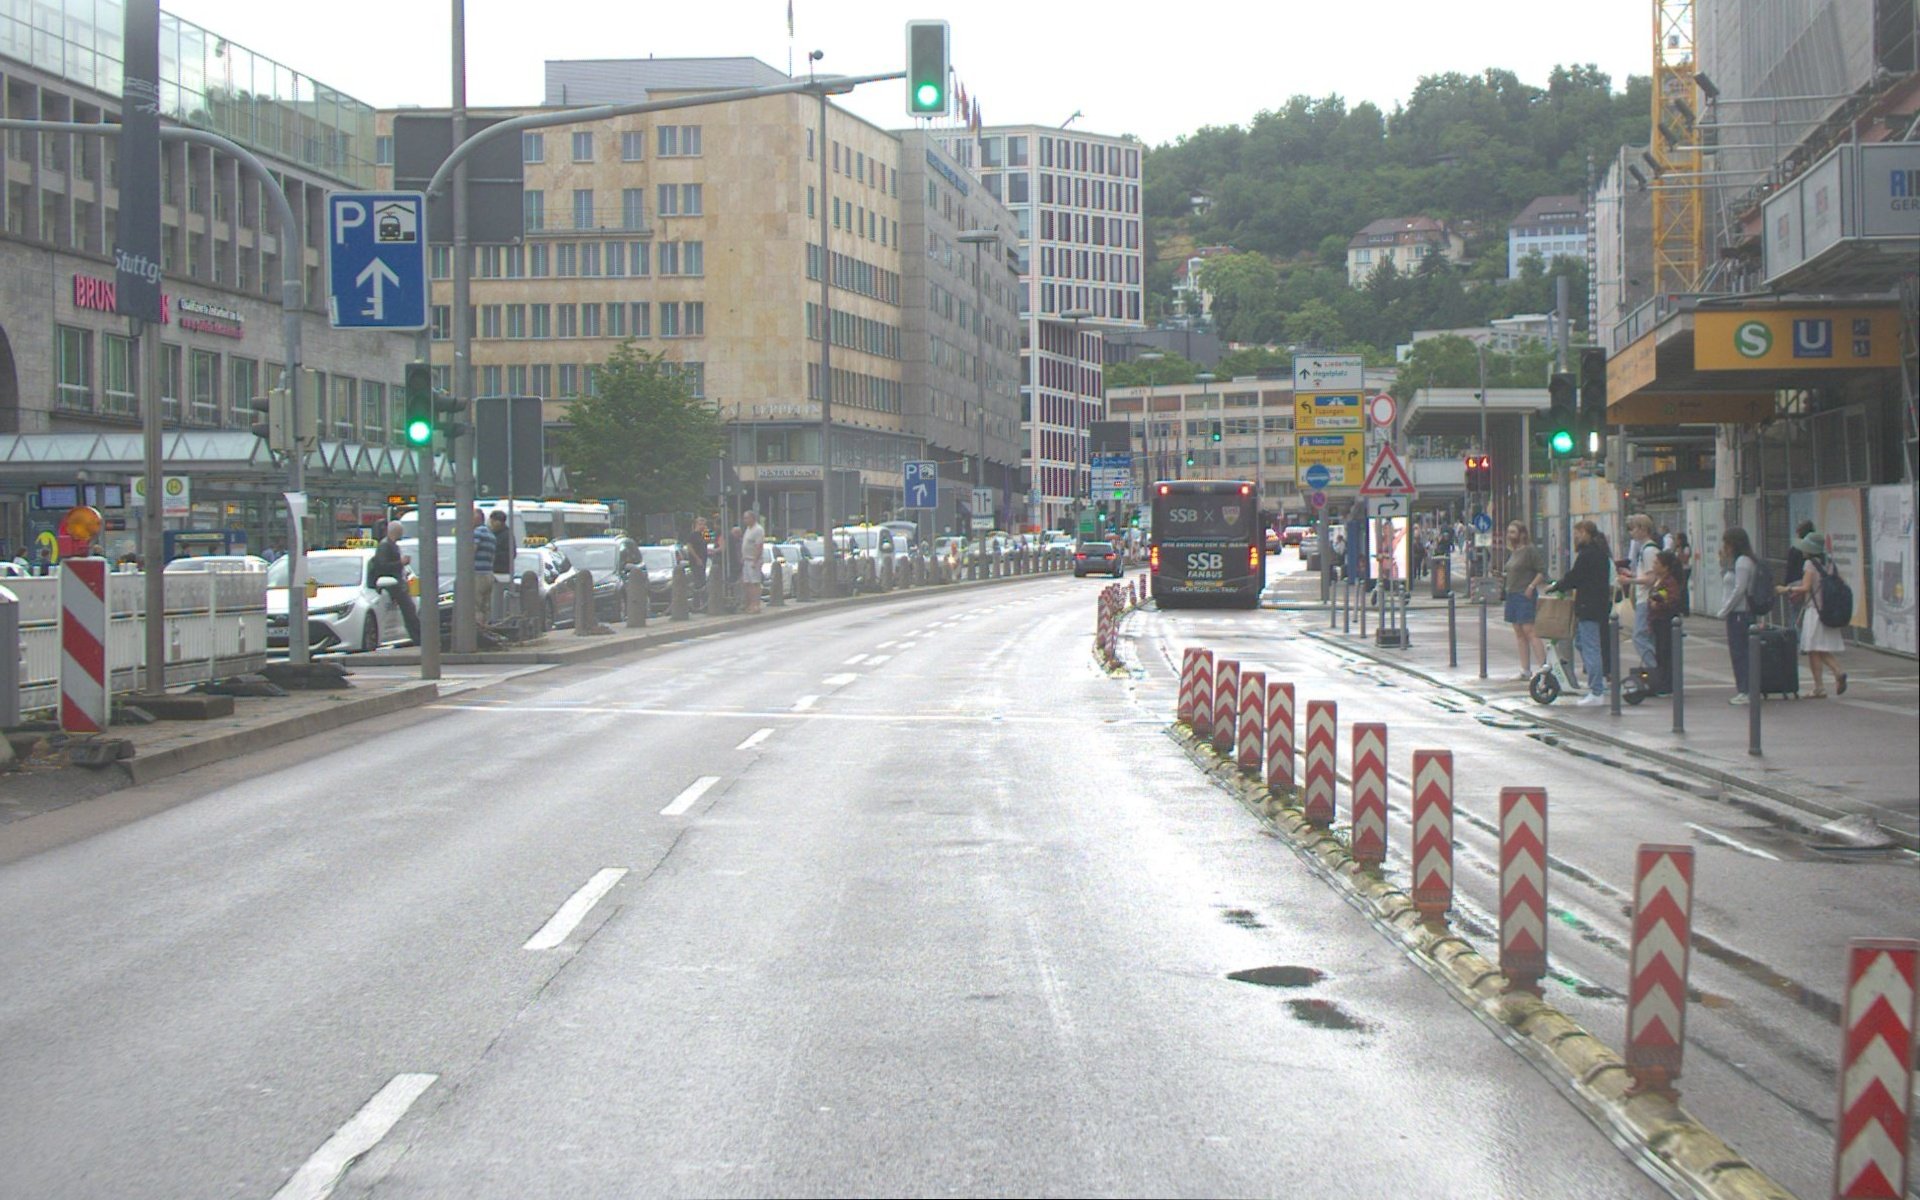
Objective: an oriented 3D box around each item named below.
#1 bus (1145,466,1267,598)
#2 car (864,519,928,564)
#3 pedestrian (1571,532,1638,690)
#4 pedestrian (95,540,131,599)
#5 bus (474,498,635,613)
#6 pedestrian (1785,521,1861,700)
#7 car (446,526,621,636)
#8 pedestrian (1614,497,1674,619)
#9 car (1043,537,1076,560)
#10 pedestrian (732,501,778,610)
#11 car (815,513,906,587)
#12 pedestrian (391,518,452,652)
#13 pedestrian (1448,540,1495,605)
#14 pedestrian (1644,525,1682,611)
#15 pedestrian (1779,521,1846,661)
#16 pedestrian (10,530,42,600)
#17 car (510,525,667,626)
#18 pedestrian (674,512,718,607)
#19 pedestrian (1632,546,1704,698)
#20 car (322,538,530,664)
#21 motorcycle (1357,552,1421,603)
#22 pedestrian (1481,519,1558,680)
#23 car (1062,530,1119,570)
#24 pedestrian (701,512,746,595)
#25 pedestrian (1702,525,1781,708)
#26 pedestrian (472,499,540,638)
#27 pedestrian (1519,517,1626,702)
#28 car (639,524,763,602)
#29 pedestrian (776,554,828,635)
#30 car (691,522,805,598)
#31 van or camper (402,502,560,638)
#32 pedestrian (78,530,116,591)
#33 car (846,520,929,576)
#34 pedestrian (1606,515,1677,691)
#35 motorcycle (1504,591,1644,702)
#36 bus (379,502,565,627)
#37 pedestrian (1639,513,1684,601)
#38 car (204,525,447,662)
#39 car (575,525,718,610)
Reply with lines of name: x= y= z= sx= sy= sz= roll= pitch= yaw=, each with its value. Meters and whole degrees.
bus: x=6.166 y=-1.669 z=85.066 sx=2.756 sy=3.058 sz=9.078 roll=1 pitch=1 yaw=5
car: x=-2.259 y=-2.083 z=122.110 sx=1.994 sy=1.546 sz=4.000 roll=-1 pitch=1 yaw=3
pedestrian: x=6.850 y=0.111 z=36.553 sx=0.558 sy=1.635 sz=0.752 roll=-3 pitch=1 yaw=6
pedestrian: x=-20.012 y=-0.720 z=81.229 sx=0.704 sy=1.388 sz=0.704 roll=0 pitch=2 yaw=-25
bus: x=-12.770 y=-1.478 z=109.283 sx=2.878 sy=3.448 sz=10.573 roll=0 pitch=1 yaw=5
pedestrian: x=8.135 y=0.094 z=32.411 sx=0.564 sy=1.645 sz=0.614 roll=-3 pitch=1 yaw=10
car: x=-7.007 y=-0.343 z=56.888 sx=1.930 sy=1.685 sz=4.682 roll=-2 pitch=1 yaw=4
pedestrian: x=10.574 y=-0.657 z=53.178 sx=0.723 sy=1.841 sz=0.810 roll=-3 pitch=1 yaw=5
car: x=6.795 y=-3.527 z=234.833 sx=1.962 sy=1.559 sz=4.834 roll=0 pitch=1 yaw=5
pedestrian: x=-3.808 y=-0.831 z=63.876 sx=0.723 sy=2.001 sz=0.772 roll=1 pitch=1 yaw=5
car: x=-2.968 y=-1.540 z=103.863 sx=1.994 sy=2.171 sz=5.543 roll=-1 pitch=1 yaw=6
pedestrian: x=-6.941 y=-0.195 z=44.360 sx=0.651 sy=1.705 sz=0.593 roll=1 pitch=2 yaw=3
pedestrian: x=12.915 y=-0.702 z=86.855 sx=0.908 sy=1.629 sz=0.826 roll=0 pitch=1 yaw=33
pedestrian: x=15.412 y=-0.705 z=75.398 sx=0.645 sy=1.841 sz=0.659 roll=-3 pitch=1 yaw=5
pedestrian: x=10.238 y=-0.114 z=41.326 sx=0.549 sy=1.626 sz=0.995 roll=-3 pitch=1 yaw=5
pedestrian: x=-20.485 y=-0.766 z=75.407 sx=0.583 sy=1.502 sz=0.626 roll=0 pitch=2 yaw=-25
car: x=-6.658 y=-0.473 z=62.093 sx=1.930 sy=1.685 sz=4.682 roll=-2 pitch=1 yaw=4
pedestrian: x=-4.910 y=-0.751 z=63.941 sx=0.698 sy=1.749 sz=0.711 roll=0 pitch=1 yaw=5
pedestrian: x=6.934 y=0.209 z=33.688 sx=0.558 sy=1.444 sz=0.711 roll=-3 pitch=1 yaw=6
car: x=-7.724 y=-0.025 z=50.200 sx=1.930 sy=1.685 sz=4.682 roll=-2 pitch=1 yaw=4
motorcycle: x=9.878 y=-0.512 z=79.171 sx=0.586 sy=1.162 sz=1.613 roll=2 pitch=1 yaw=44
pedestrian: x=6.238 y=-0.013 z=38.364 sx=0.558 sy=1.753 sz=0.752 roll=-3 pitch=1 yaw=-8
car: x=5.310 y=-2.048 z=139.591 sx=1.994 sy=1.546 sz=3.999 roll=-1 pitch=1 yaw=7
pedestrian: x=-4.652 y=-0.927 z=67.581 sx=0.723 sy=1.601 sz=0.996 roll=1 pitch=2 yaw=5
pedestrian: x=7.212 y=0.145 z=31.751 sx=0.558 sy=1.645 sz=0.614 roll=-3 pitch=1 yaw=6
pedestrian: x=-5.955 y=-0.419 z=45.144 sx=0.781 sy=1.769 sz=0.607 roll=-3 pitch=1 yaw=-7
pedestrian: x=5.833 y=0.076 z=32.762 sx=0.580 sy=1.735 sz=0.822 roll=-1 pitch=2 yaw=-38
car: x=-5.610 y=-0.823 z=75.068 sx=1.930 sy=1.571 sz=5.012 roll=-2 pitch=1 yaw=4
pedestrian: x=-3.436 y=-0.123 z=74.819 sx=1.050 sy=1.762 sz=0.616 roll=0 pitch=1 yaw=4
car: x=-4.963 y=-0.963 z=81.184 sx=1.976 sy=1.653 sz=5.192 roll=-2 pitch=1 yaw=4
van or camper: x=-9.541 y=-0.639 z=68.857 sx=1.994 sy=2.505 sz=5.370 roll=-3 pitch=1 yaw=3
pedestrian: x=-19.691 y=-0.905 z=78.441 sx=0.704 sy=1.388 sz=0.704 roll=0 pitch=2 yaw=-25
car: x=-2.283 y=-1.674 z=109.184 sx=1.994 sy=1.716 sz=4.781 roll=-1 pitch=1 yaw=7
pedestrian: x=6.947 y=0.027 z=35.042 sx=0.558 sy=1.746 sz=0.711 roll=-3 pitch=1 yaw=6
motorcycle: x=5.845 y=0.432 z=32.758 sx=0.584 sy=1.018 sz=1.239 roll=-1 pitch=2 yaw=-38
bus: x=-13.847 y=-1.101 z=98.598 sx=2.878 sy=3.365 sz=10.573 roll=0 pitch=1 yaw=5
pedestrian: x=12.561 y=-0.771 z=61.551 sx=0.651 sy=1.534 sz=0.665 roll=-3 pitch=1 yaw=6
car: x=-8.094 y=-0.128 z=44.308 sx=2.015 sy=1.615 sz=4.842 roll=-1 pitch=2 yaw=3
car: x=-6.199 y=-0.669 z=68.579 sx=1.930 sy=1.571 sz=5.260 roll=-2 pitch=1 yaw=4
